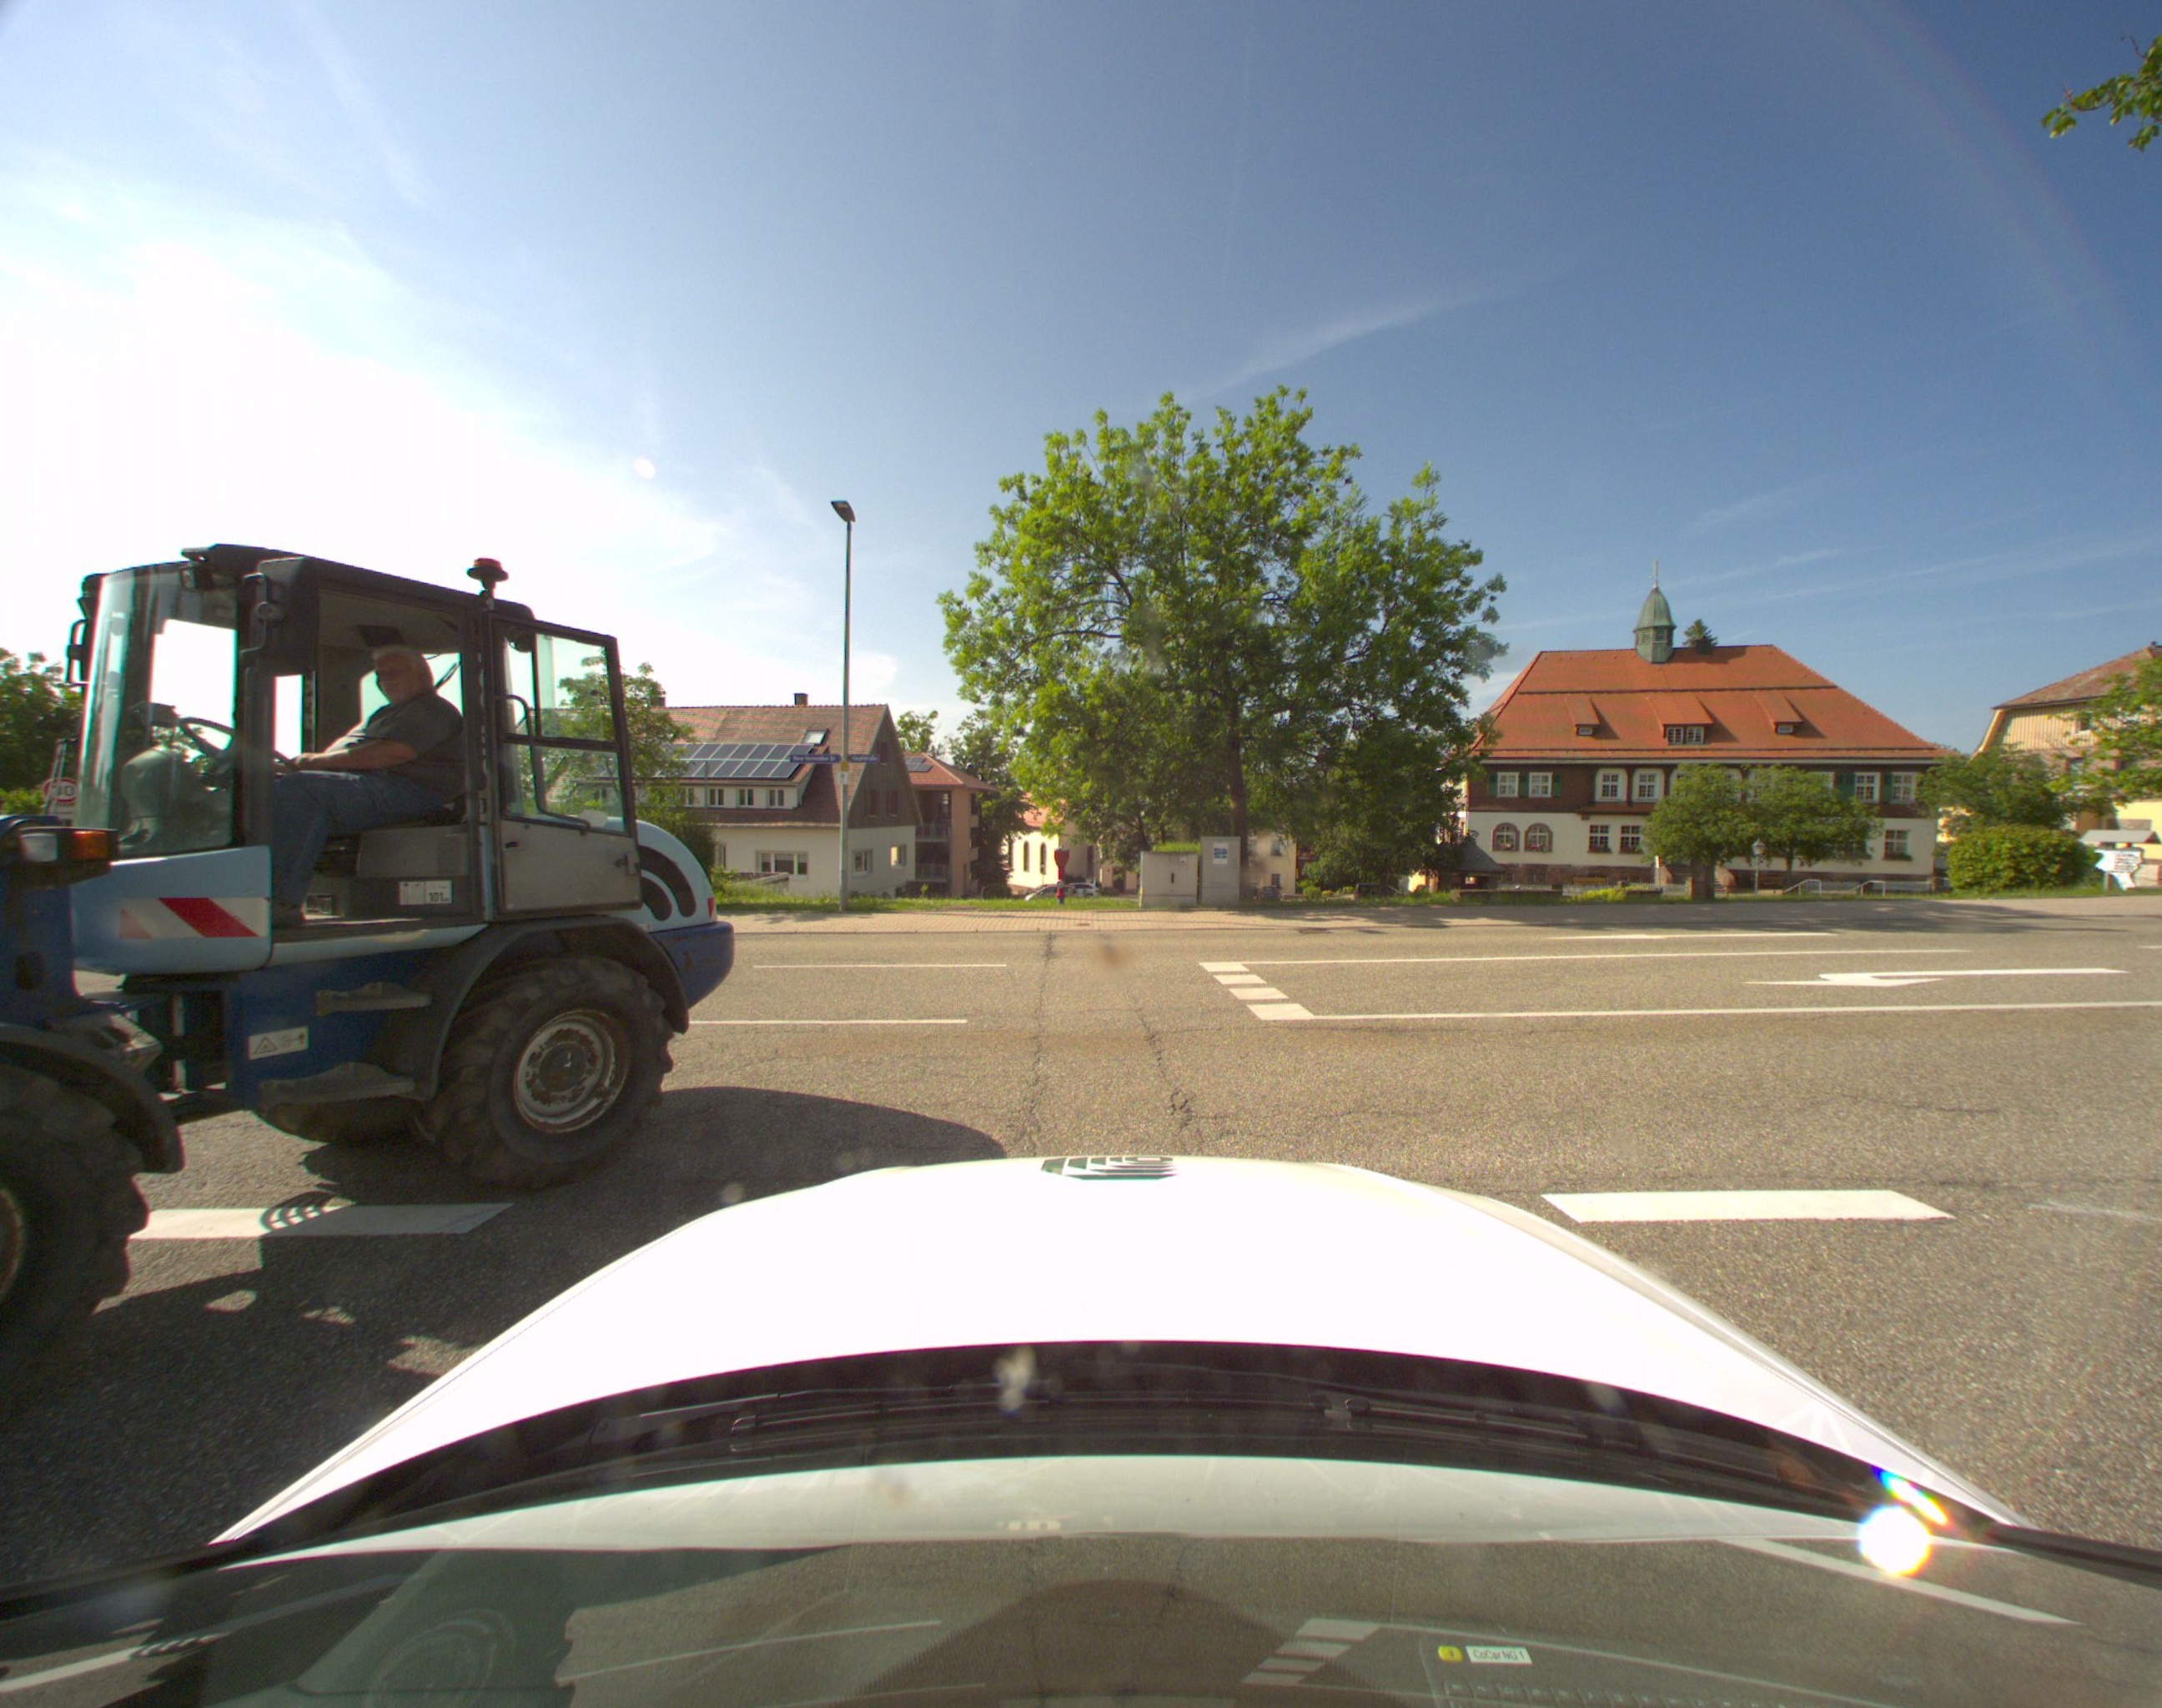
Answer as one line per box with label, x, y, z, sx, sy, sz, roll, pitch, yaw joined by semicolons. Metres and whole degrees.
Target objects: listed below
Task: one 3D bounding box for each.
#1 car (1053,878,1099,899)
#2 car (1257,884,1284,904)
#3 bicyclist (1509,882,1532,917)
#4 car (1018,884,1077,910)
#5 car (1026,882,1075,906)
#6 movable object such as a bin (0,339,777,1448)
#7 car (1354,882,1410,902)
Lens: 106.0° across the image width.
car;-0.441;2.897;68.631;3.765;1.593;1.711;-1;-1;-4
car;15.742;3.299;67.651;1.699;1.542;3.791;-1;-1;6
bicyclist;24.378;2.518;45.156;0.987;1.925;0.584;-1;-1;16
car;-2.386;3.048;57.821;4.081;1.758;1.711;-1;-1;-3
car;-2.384;3.119;63.649;3.765;1.758;1.711;-1;-1;-4
movable object such as a bin;-3.522;0.091;2.746;1.978;2.769;5.127;0;1;16
car;22.580;2.824;61.147;3.746;1.444;1.720;-1;-1;14
